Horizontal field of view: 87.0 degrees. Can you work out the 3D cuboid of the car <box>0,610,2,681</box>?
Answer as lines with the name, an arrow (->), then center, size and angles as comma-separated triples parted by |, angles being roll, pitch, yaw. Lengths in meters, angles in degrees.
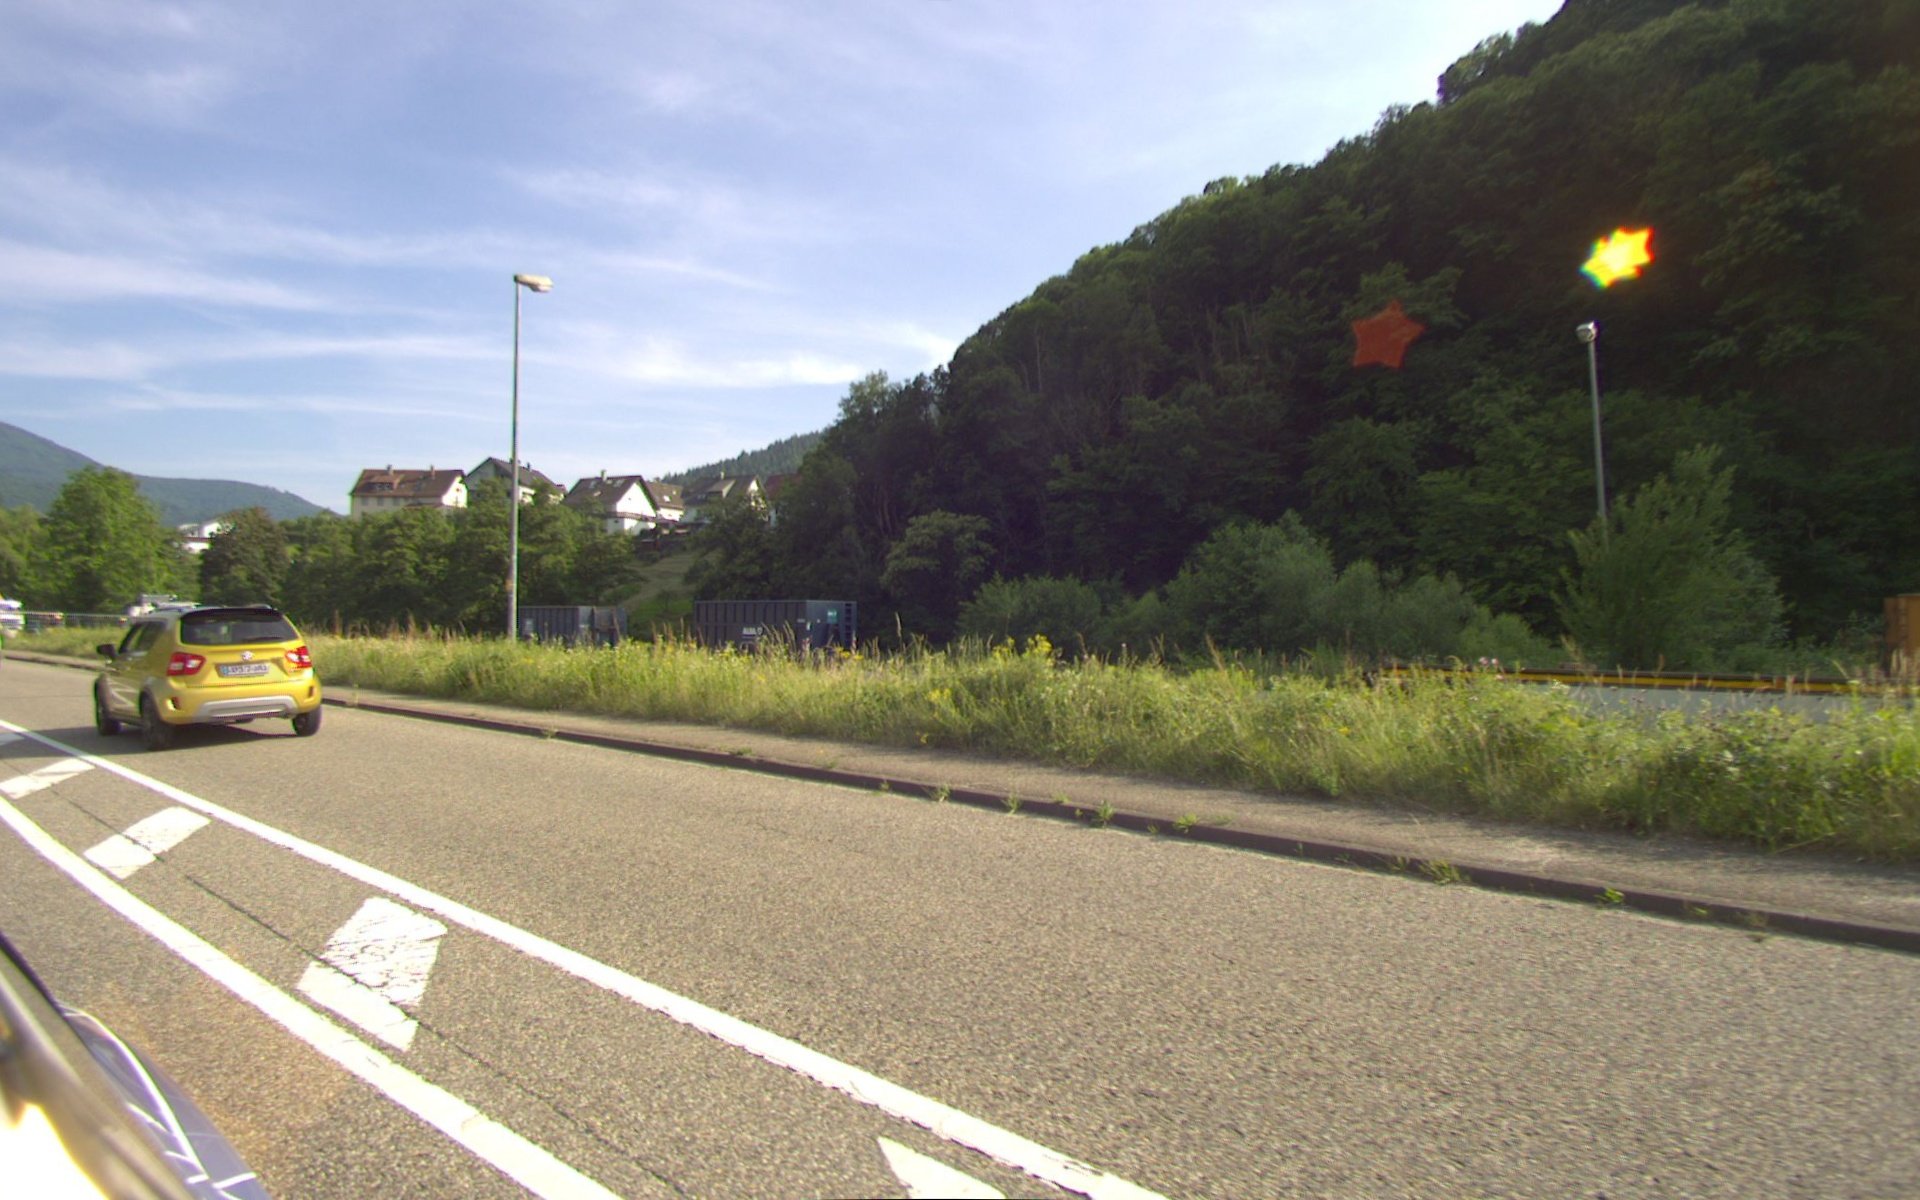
car -> -26.433, 1.165, 26.071 | 4.464, 1.772, 1.974 | -1, 0, 39

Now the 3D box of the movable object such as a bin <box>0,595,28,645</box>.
movable object such as a bin -> -80.101, 1.574, 82.957 | 7.189, 3.977, 2.707 | 0, -4, 26

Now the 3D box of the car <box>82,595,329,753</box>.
car -> -9.345, 0.808, 12.438 | 3.794, 1.637, 1.705 | -1, -1, 42

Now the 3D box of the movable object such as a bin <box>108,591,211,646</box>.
movable object such as a bin -> -61.600, 1.398, 77.842 | 7.765, 3.977, 2.882 | 0, -4, 26
